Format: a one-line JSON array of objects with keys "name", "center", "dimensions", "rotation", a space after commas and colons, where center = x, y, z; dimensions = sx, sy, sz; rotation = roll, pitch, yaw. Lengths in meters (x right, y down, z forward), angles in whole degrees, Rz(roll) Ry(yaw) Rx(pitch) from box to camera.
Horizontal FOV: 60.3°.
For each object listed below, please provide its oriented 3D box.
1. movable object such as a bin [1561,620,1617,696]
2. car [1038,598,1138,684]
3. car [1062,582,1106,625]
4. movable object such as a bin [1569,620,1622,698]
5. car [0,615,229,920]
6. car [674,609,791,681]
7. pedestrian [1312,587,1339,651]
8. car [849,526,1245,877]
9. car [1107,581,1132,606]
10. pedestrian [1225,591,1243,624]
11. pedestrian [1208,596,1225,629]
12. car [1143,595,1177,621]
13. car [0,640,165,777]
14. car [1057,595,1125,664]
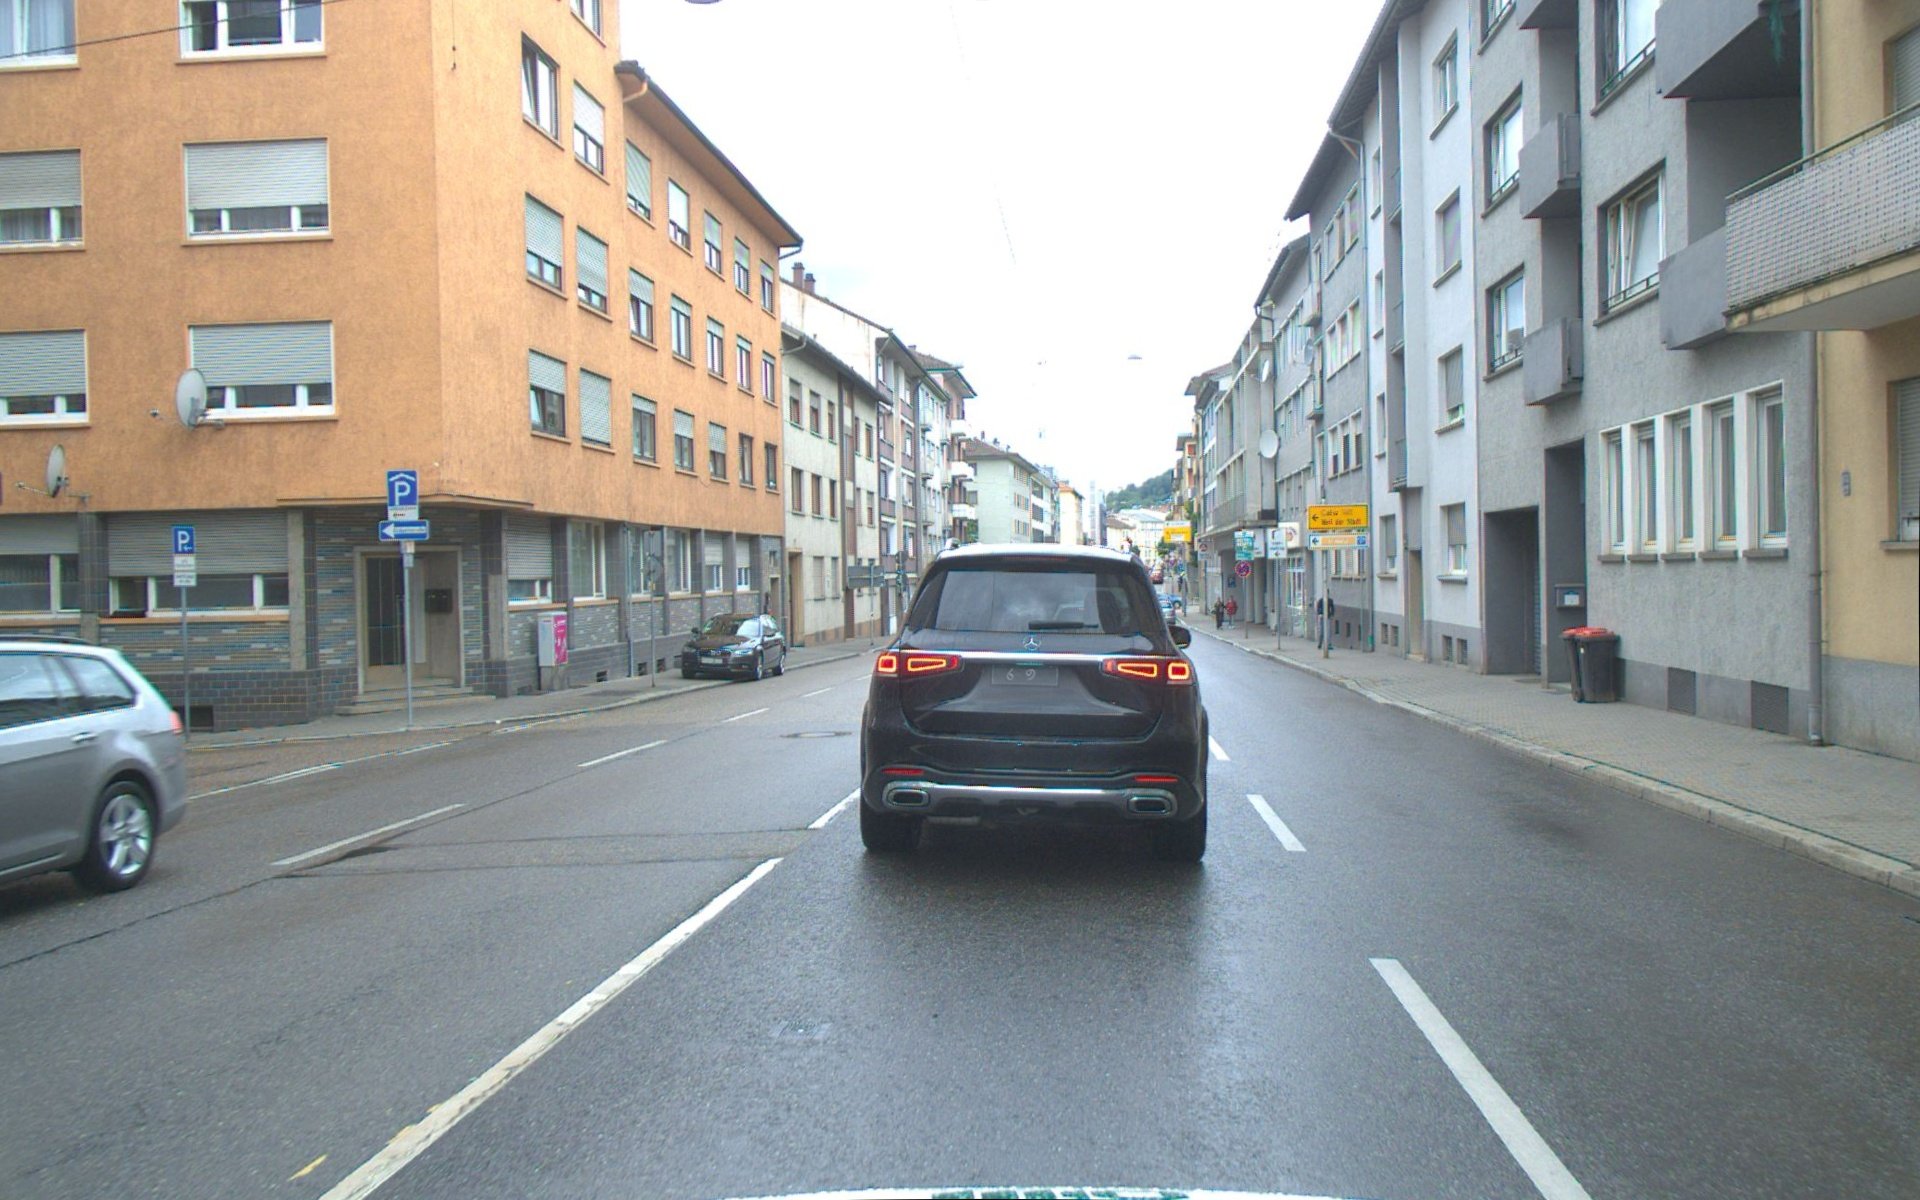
[{"name": "movable object such as a bin", "center": [8.602, 0.793, 22.643], "dimensions": [0.550, 0.979, 0.475], "rotation": [-5, 0, 7]}, {"name": "car", "center": [2.505, 0.765, 33.061], "dimensions": [1.853, 1.537, 4.175], "rotation": [1, 1, 3]}, {"name": "car", "center": [6.167, 0.145, 82.179], "dimensions": [1.951, 2.049, 4.003], "rotation": [0, 1, 7]}, {"name": "movable object such as a bin", "center": [8.489, 0.779, 22.106], "dimensions": [0.463, 0.979, 0.565], "rotation": [-5, 0, 7]}, {"name": "car", "center": [-5.645, 0.931, 8.196], "dimensions": [1.789, 1.441, 4.298], "rotation": [-5, 1, 4]}, {"name": "car", "center": [-5.237, 0.997, 38.612], "dimensions": [1.851, 1.484, 4.551], "rotation": [0, 1, 3]}, {"name": "pedestrian", "center": [10.622, 0.543, 48.059], "dimensions": [0.641, 1.782, 0.742], "rotation": [-4, 0, 10]}, {"name": "car", "center": [0.599, 0.486, 10.828], "dimensions": [2.032, 1.796, 4.614], "rotation": [0, 1, 4]}, {"name": "car", "center": [13.497, -0.593, 140.085], "dimensions": [1.951, 2.049, 4.003], "rotation": [0, 1, 7]}, {"name": "pedestrian", "center": [13.392, 0.350, 80.844], "dimensions": [0.803, 1.592, 0.900], "rotation": [0, 0, 8]}, {"name": "pedestrian", "center": [12.555, 0.620, 80.949], "dimensions": [0.803, 1.592, 0.900], "rotation": [0, 0, 8]}, {"name": "car", "center": [11.460, 0.425, 95.045], "dimensions": [1.698, 1.412, 4.585], "rotation": [0, 1, 4]}, {"name": "car", "center": [-13.801, 1.635, 23.549], "dimensions": [3.904, 1.680, 1.931], "rotation": [-6, 0, 5]}, {"name": "car", "center": [4.198, 0.895, 52.613], "dimensions": [1.951, 2.049, 4.003], "rotation": [0, 1, 7]}]
